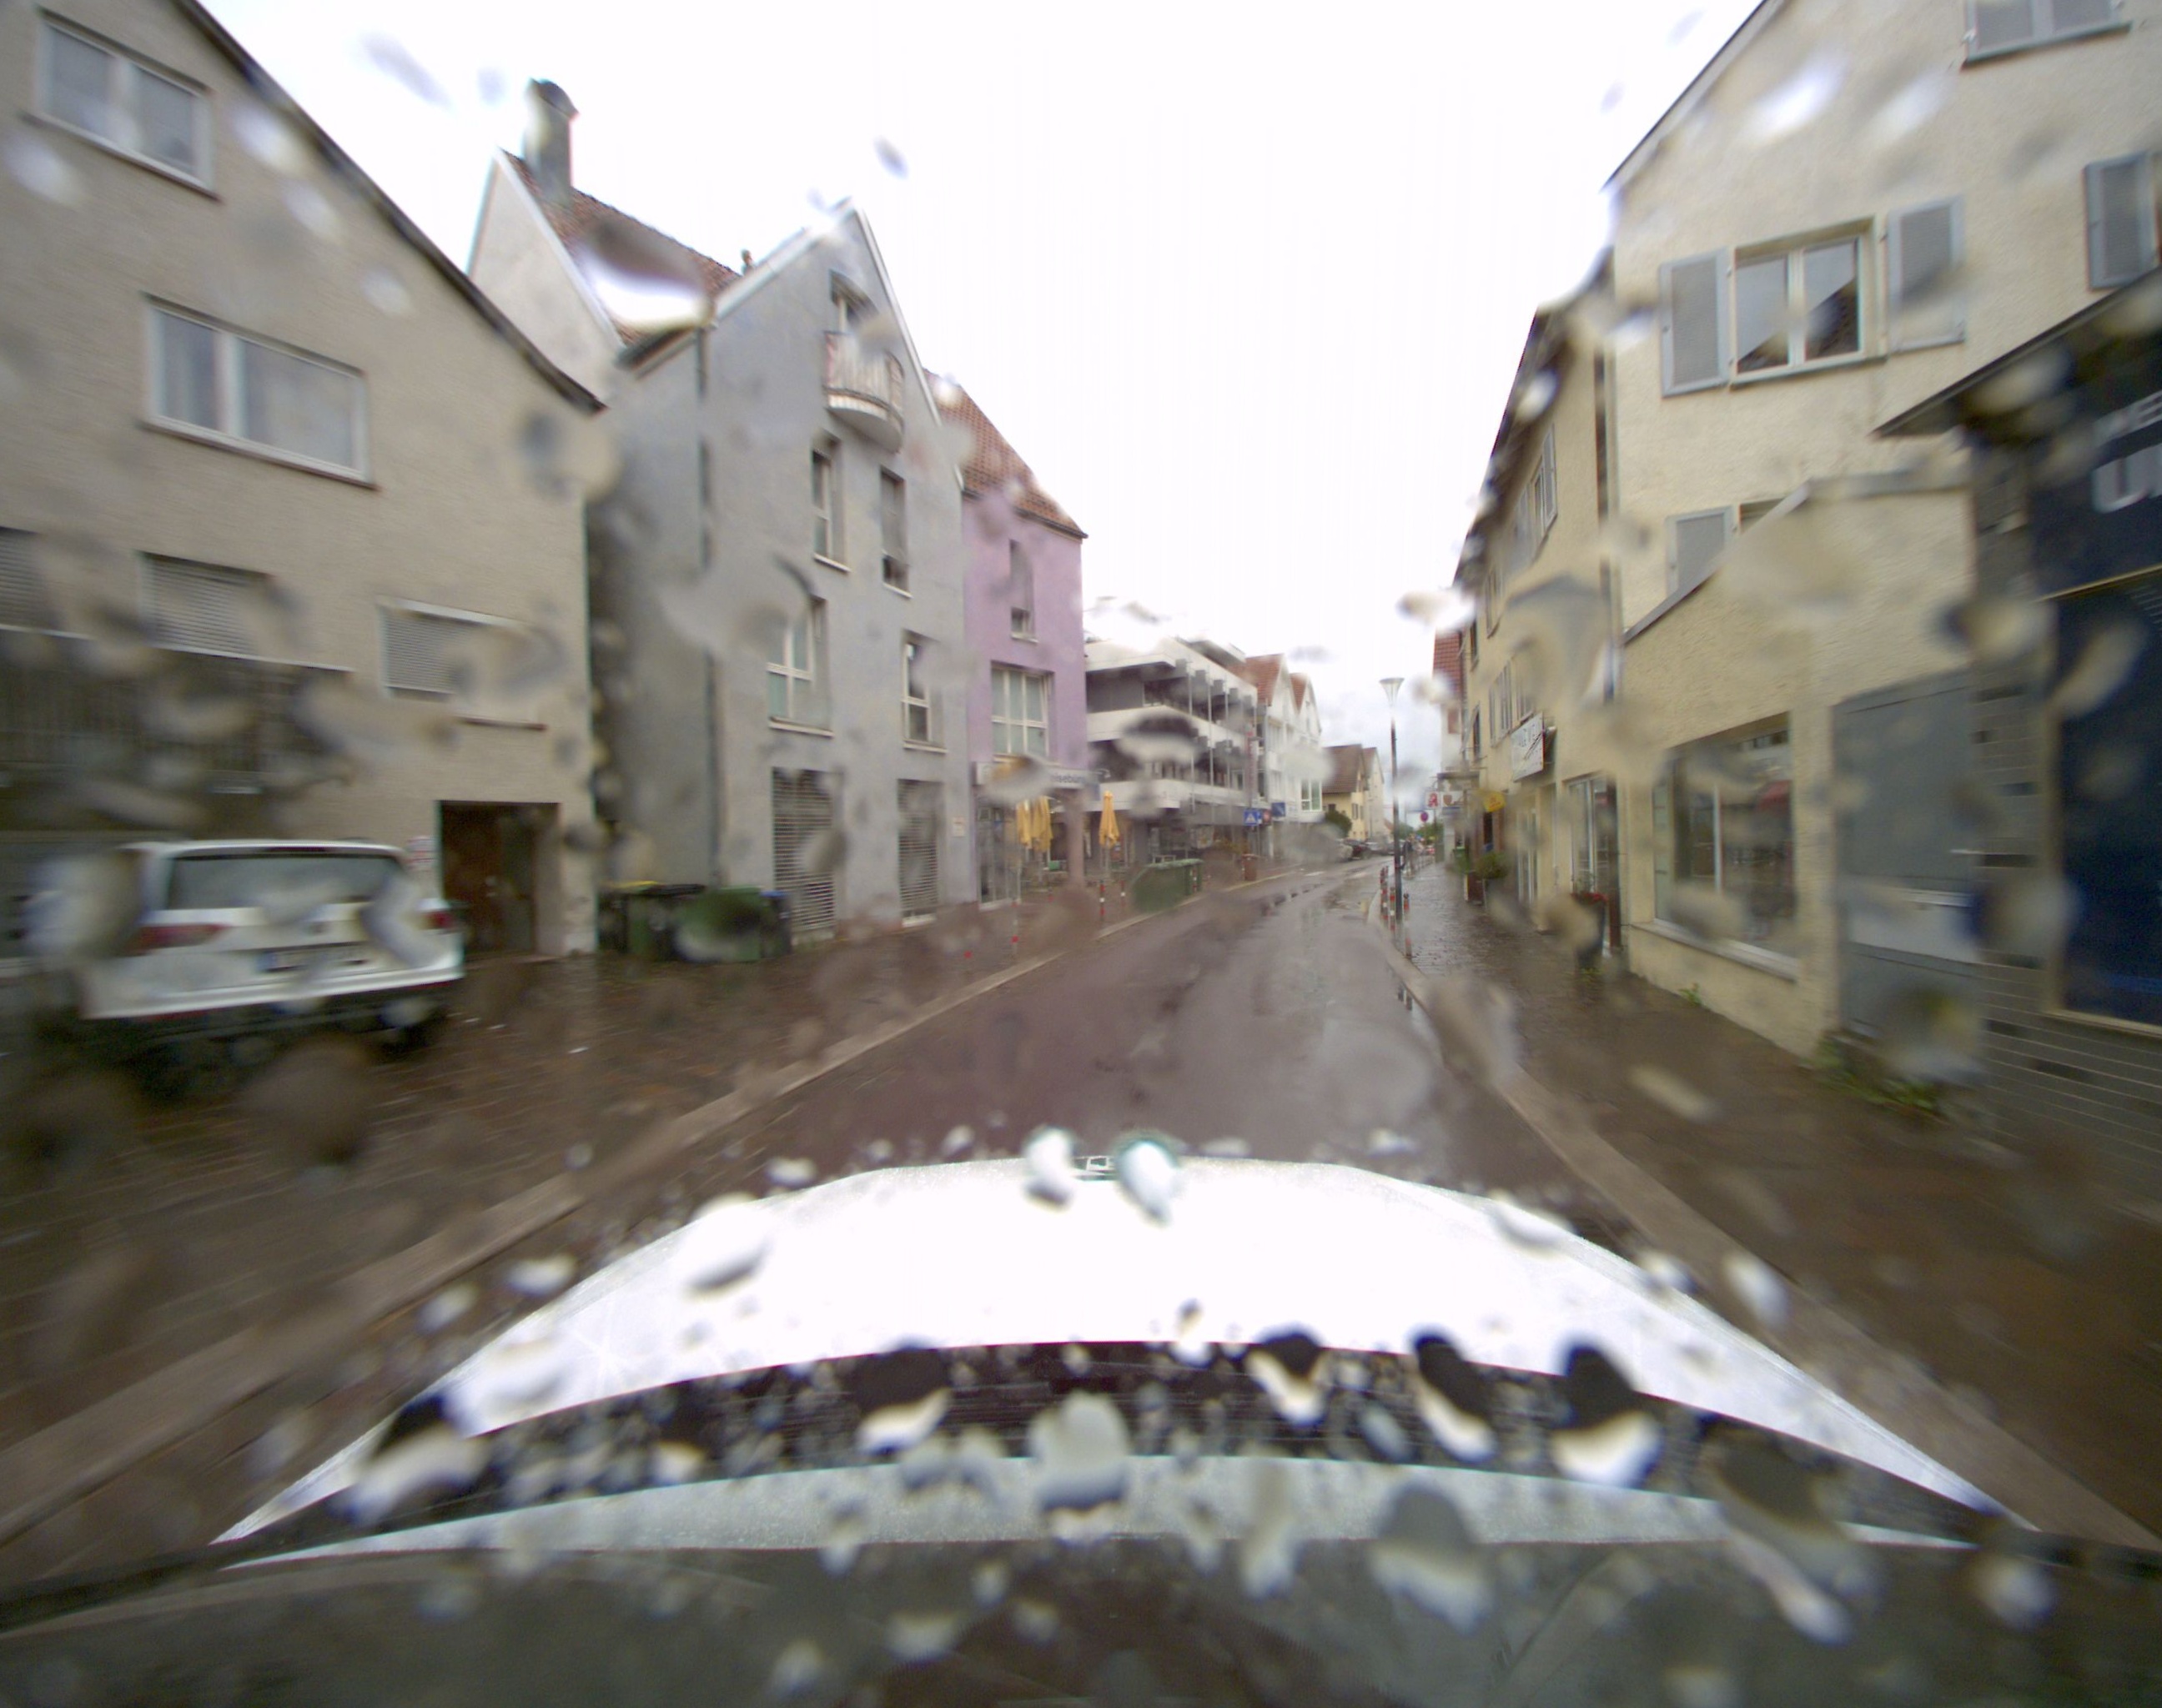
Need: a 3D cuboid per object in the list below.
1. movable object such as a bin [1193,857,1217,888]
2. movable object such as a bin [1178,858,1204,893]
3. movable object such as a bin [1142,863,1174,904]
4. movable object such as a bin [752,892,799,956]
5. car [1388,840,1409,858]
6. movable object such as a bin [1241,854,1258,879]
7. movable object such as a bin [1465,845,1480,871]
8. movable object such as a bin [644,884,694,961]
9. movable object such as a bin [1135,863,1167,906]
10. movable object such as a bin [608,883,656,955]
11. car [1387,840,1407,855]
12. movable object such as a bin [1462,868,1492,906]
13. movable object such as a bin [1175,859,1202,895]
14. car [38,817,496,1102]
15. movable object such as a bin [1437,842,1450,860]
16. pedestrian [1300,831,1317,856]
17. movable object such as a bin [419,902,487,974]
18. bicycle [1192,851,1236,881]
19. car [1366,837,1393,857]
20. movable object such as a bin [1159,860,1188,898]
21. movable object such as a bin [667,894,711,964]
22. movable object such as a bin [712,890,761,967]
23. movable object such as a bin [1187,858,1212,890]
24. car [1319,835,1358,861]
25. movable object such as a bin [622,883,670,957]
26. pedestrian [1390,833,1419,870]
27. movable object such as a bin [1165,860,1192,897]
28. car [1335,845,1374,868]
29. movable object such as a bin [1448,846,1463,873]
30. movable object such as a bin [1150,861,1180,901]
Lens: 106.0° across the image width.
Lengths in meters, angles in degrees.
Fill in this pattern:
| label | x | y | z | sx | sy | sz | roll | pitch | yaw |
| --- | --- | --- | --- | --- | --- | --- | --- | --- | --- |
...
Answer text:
| label | x | y | z | sx | sy | sz | roll | pitch | yaw |
| --- | --- | --- | --- | --- | --- | --- | --- | --- | --- |
| movable object such as a bin | 4.250 | 0.621 | 27.801 | 0.681 | 1.039 | 0.672 | -1 | 0 | 19 |
| movable object such as a bin | 3.554 | 0.691 | 26.242 | 0.681 | 1.076 | 0.672 | -1 | 0 | 19 |
| movable object such as a bin | 2.098 | 0.789 | 22.161 | 0.681 | 1.087 | 0.716 | -1 | 0 | 19 |
| movable object such as a bin | -4.415 | 1.006 | 11.785 | 0.456 | 0.895 | 0.452 | -1 | -1 | 16 |
| car | 33.865 | -0.480 | 86.843 | 1.708 | 1.825 | 4.453 | -1 | -1 | 25 |
| movable object such as a bin | 6.855 | 0.507 | 33.143 | 0.682 | 1.020 | 0.634 | -1 | 0 | 10 |
| movable object such as a bin | 15.941 | 0.170 | 33.148 | 0.496 | 1.056 | 0.552 | -4 | -2 | 27 |
| movable object such as a bin | -5.771 | 0.942 | 11.417 | 0.469 | 1.028 | 0.476 | -2 | -2 | 39 |
| movable object such as a bin | 1.856 | 0.802 | 21.448 | 0.681 | 1.078 | 0.680 | -1 | 0 | 19 |
| movable object such as a bin | -6.684 | 0.957 | 12.122 | 0.469 | 1.028 | 0.476 | -2 | -2 | 39 |
| car | 31.631 | -0.644 | 81.555 | 1.666 | 1.389 | 3.847 | -1 | -1 | 24 |
| movable object such as a bin | 9.425 | 0.782 | 19.409 | 0.541 | 0.836 | 0.915 | -4 | 0 | 22 |
| movable object such as a bin | 3.362 | 0.710 | 25.378 | 0.681 | 1.073 | 0.672 | -1 | 0 | 19 |
| car | -6.502 | 0.633 | 6.409 | 3.947 | 1.584 | 1.844 | -1 | -1 | 34 |
| movable object such as a bin | 22.713 | -0.181 | 51.075 | 0.670 | 1.086 | 0.722 | -1 | 0 | 29 |
| pedestrian | 16.661 | -0.772 | 59.638 | 1.025 | 1.806 | 1.123 | -1 | 0 | 28 |
| movable object such as a bin | -8.094 | 1.071 | 10.502 | 0.536 | 0.868 | 0.533 | -1 | -1 | 31 |
| bicycle | 5.414 | 0.495 | 33.250 | 1.736 | 1.164 | 0.445 | -1 | -1 | 8 |
| car | 25.554 | -0.591 | 69.658 | 1.763 | 1.569 | 4.433 | -1 | -1 | 26 |
| movable object such as a bin | 2.739 | 0.740 | 24.091 | 0.681 | 1.105 | 0.672 | -1 | 0 | 19 |
| movable object such as a bin | -5.370 | 1.014 | 11.152 | 0.431 | 0.915 | 0.389 | -2 | -2 | 38 |
| movable object such as a bin | -4.677 | 0.997 | 11.058 | 0.574 | 0.989 | 0.484 | 0 | -1 | -28 |
| movable object such as a bin | 3.948 | 0.651 | 27.146 | 0.681 | 1.042 | 0.672 | -1 | 0 | 19 |
| car | 16.787 | -0.355 | 52.967 | 1.775 | 1.551 | 4.024 | 0 | -1 | 27 |
| movable object such as a bin | -6.289 | 0.939 | 11.785 | 0.469 | 1.028 | 0.476 | -2 | -2 | 41 |
| pedestrian | 15.747 | -0.128 | 39.642 | 1.167 | 1.697 | 1.184 | -3 | -1 | 25 |
| movable object such as a bin | 2.969 | 0.740 | 24.778 | 0.681 | 1.105 | 0.672 | -1 | 0 | 19 |
| car | 19.664 | 0.156 | 58.455 | 1.813 | 1.498 | 4.793 | -2 | 0 | 29 |
| movable object such as a bin | 15.362 | 0.230 | 33.398 | 0.496 | 1.056 | 0.552 | -4 | -2 | 27 |
| movable object such as a bin | 2.390 | 0.757 | 23.035 | 0.681 | 1.081 | 0.672 | -1 | 0 | 19 |
